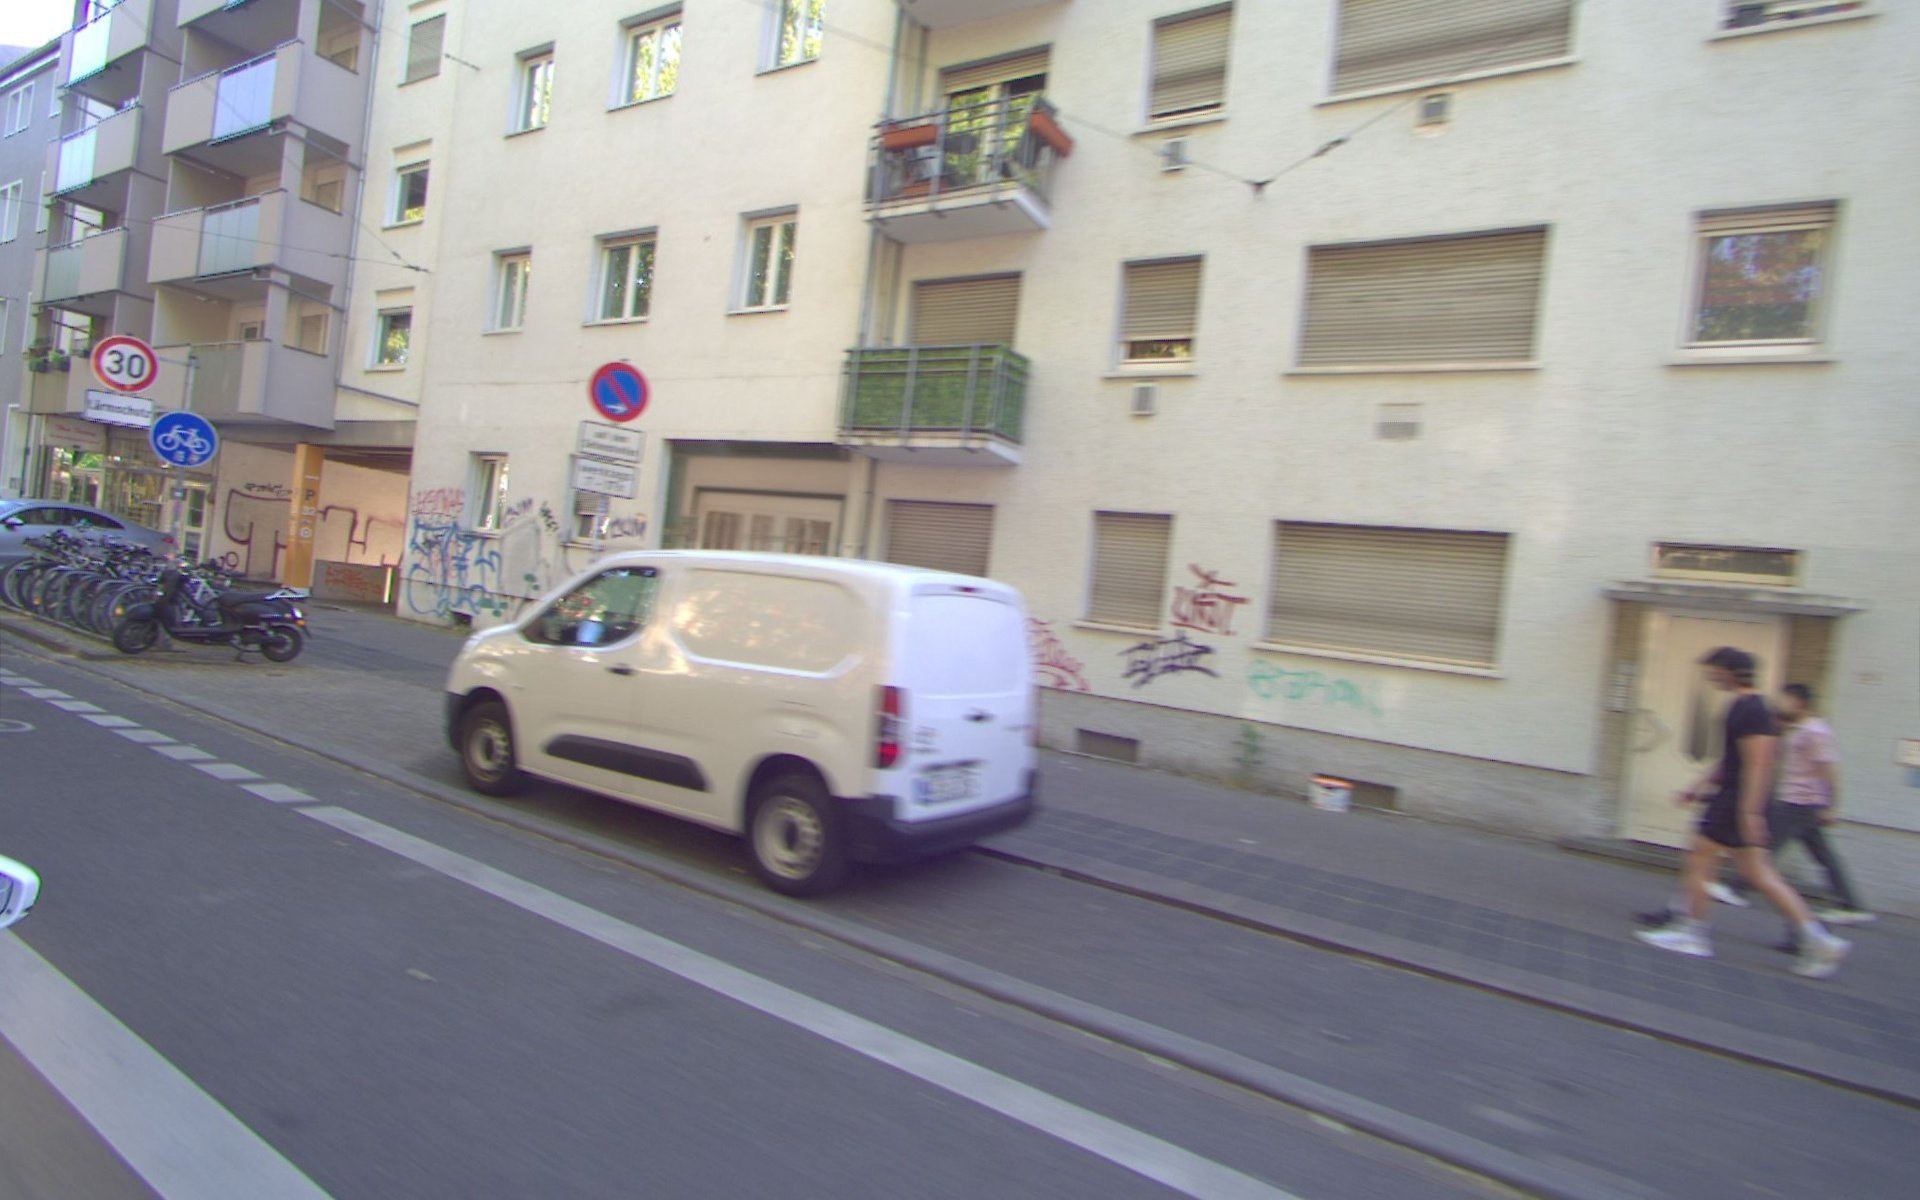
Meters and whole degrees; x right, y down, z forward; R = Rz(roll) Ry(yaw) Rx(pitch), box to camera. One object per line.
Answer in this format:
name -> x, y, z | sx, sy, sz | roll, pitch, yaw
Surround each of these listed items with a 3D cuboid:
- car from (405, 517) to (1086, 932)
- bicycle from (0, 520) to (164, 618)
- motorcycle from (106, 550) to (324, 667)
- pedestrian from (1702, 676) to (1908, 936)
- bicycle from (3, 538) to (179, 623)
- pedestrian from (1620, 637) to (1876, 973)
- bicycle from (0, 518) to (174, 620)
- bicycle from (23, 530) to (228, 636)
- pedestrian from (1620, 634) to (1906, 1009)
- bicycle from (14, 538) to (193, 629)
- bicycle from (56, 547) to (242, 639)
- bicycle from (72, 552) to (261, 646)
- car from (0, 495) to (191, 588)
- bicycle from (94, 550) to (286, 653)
car -> -1.563, 0.528, 6.725 | 4.279, 1.845, 1.858 | 6, 2, 32
bicycle -> -12.150, -0.406, 13.748 | 0.449, 1.207, 1.893 | 7, 2, 32
motorcycle -> -8.092, 0.109, 11.021 | 1.807, 1.093, 0.611 | 6, 1, -35
pedestrian -> 6.011, 1.423, 7.228 | 0.918, 1.603, 0.631 | 6, 5, 34
bicycle -> -11.373, -0.234, 13.227 | 0.449, 0.978, 1.653 | 7, 1, 32
pedestrian -> 4.919, 1.220, 6.370 | 1.065, 1.846, 0.625 | 6, 1, 34
bicycle -> -11.757, -0.388, 13.482 | 0.449, 1.207, 1.824 | 7, 2, 32
bicycle -> -10.394, -0.178, 12.597 | 0.693, 1.163, 1.794 | 7, 2, 32
pedestrian -> 4.539, 1.179, 5.794 | 1.065, 1.846, 0.709 | 6, 1, 34
bicycle -> -10.963, -0.189, 12.941 | 0.449, 1.034, 1.653 | 7, 2, 32
bicycle -> -9.757, -0.057, 12.171 | 0.449, 1.000, 1.653 | 7, 1, 32
bicycle -> -9.336, 0.017, 11.905 | 0.449, 1.000, 1.653 | 7, 1, 32
car -> -17.323, -1.151, 18.566 | 1.830, 1.455, 4.626 | 7, 1, 21
bicycle -> -8.811, 0.049, 11.581 | 0.449, 1.069, 1.653 | 7, 2, 32
